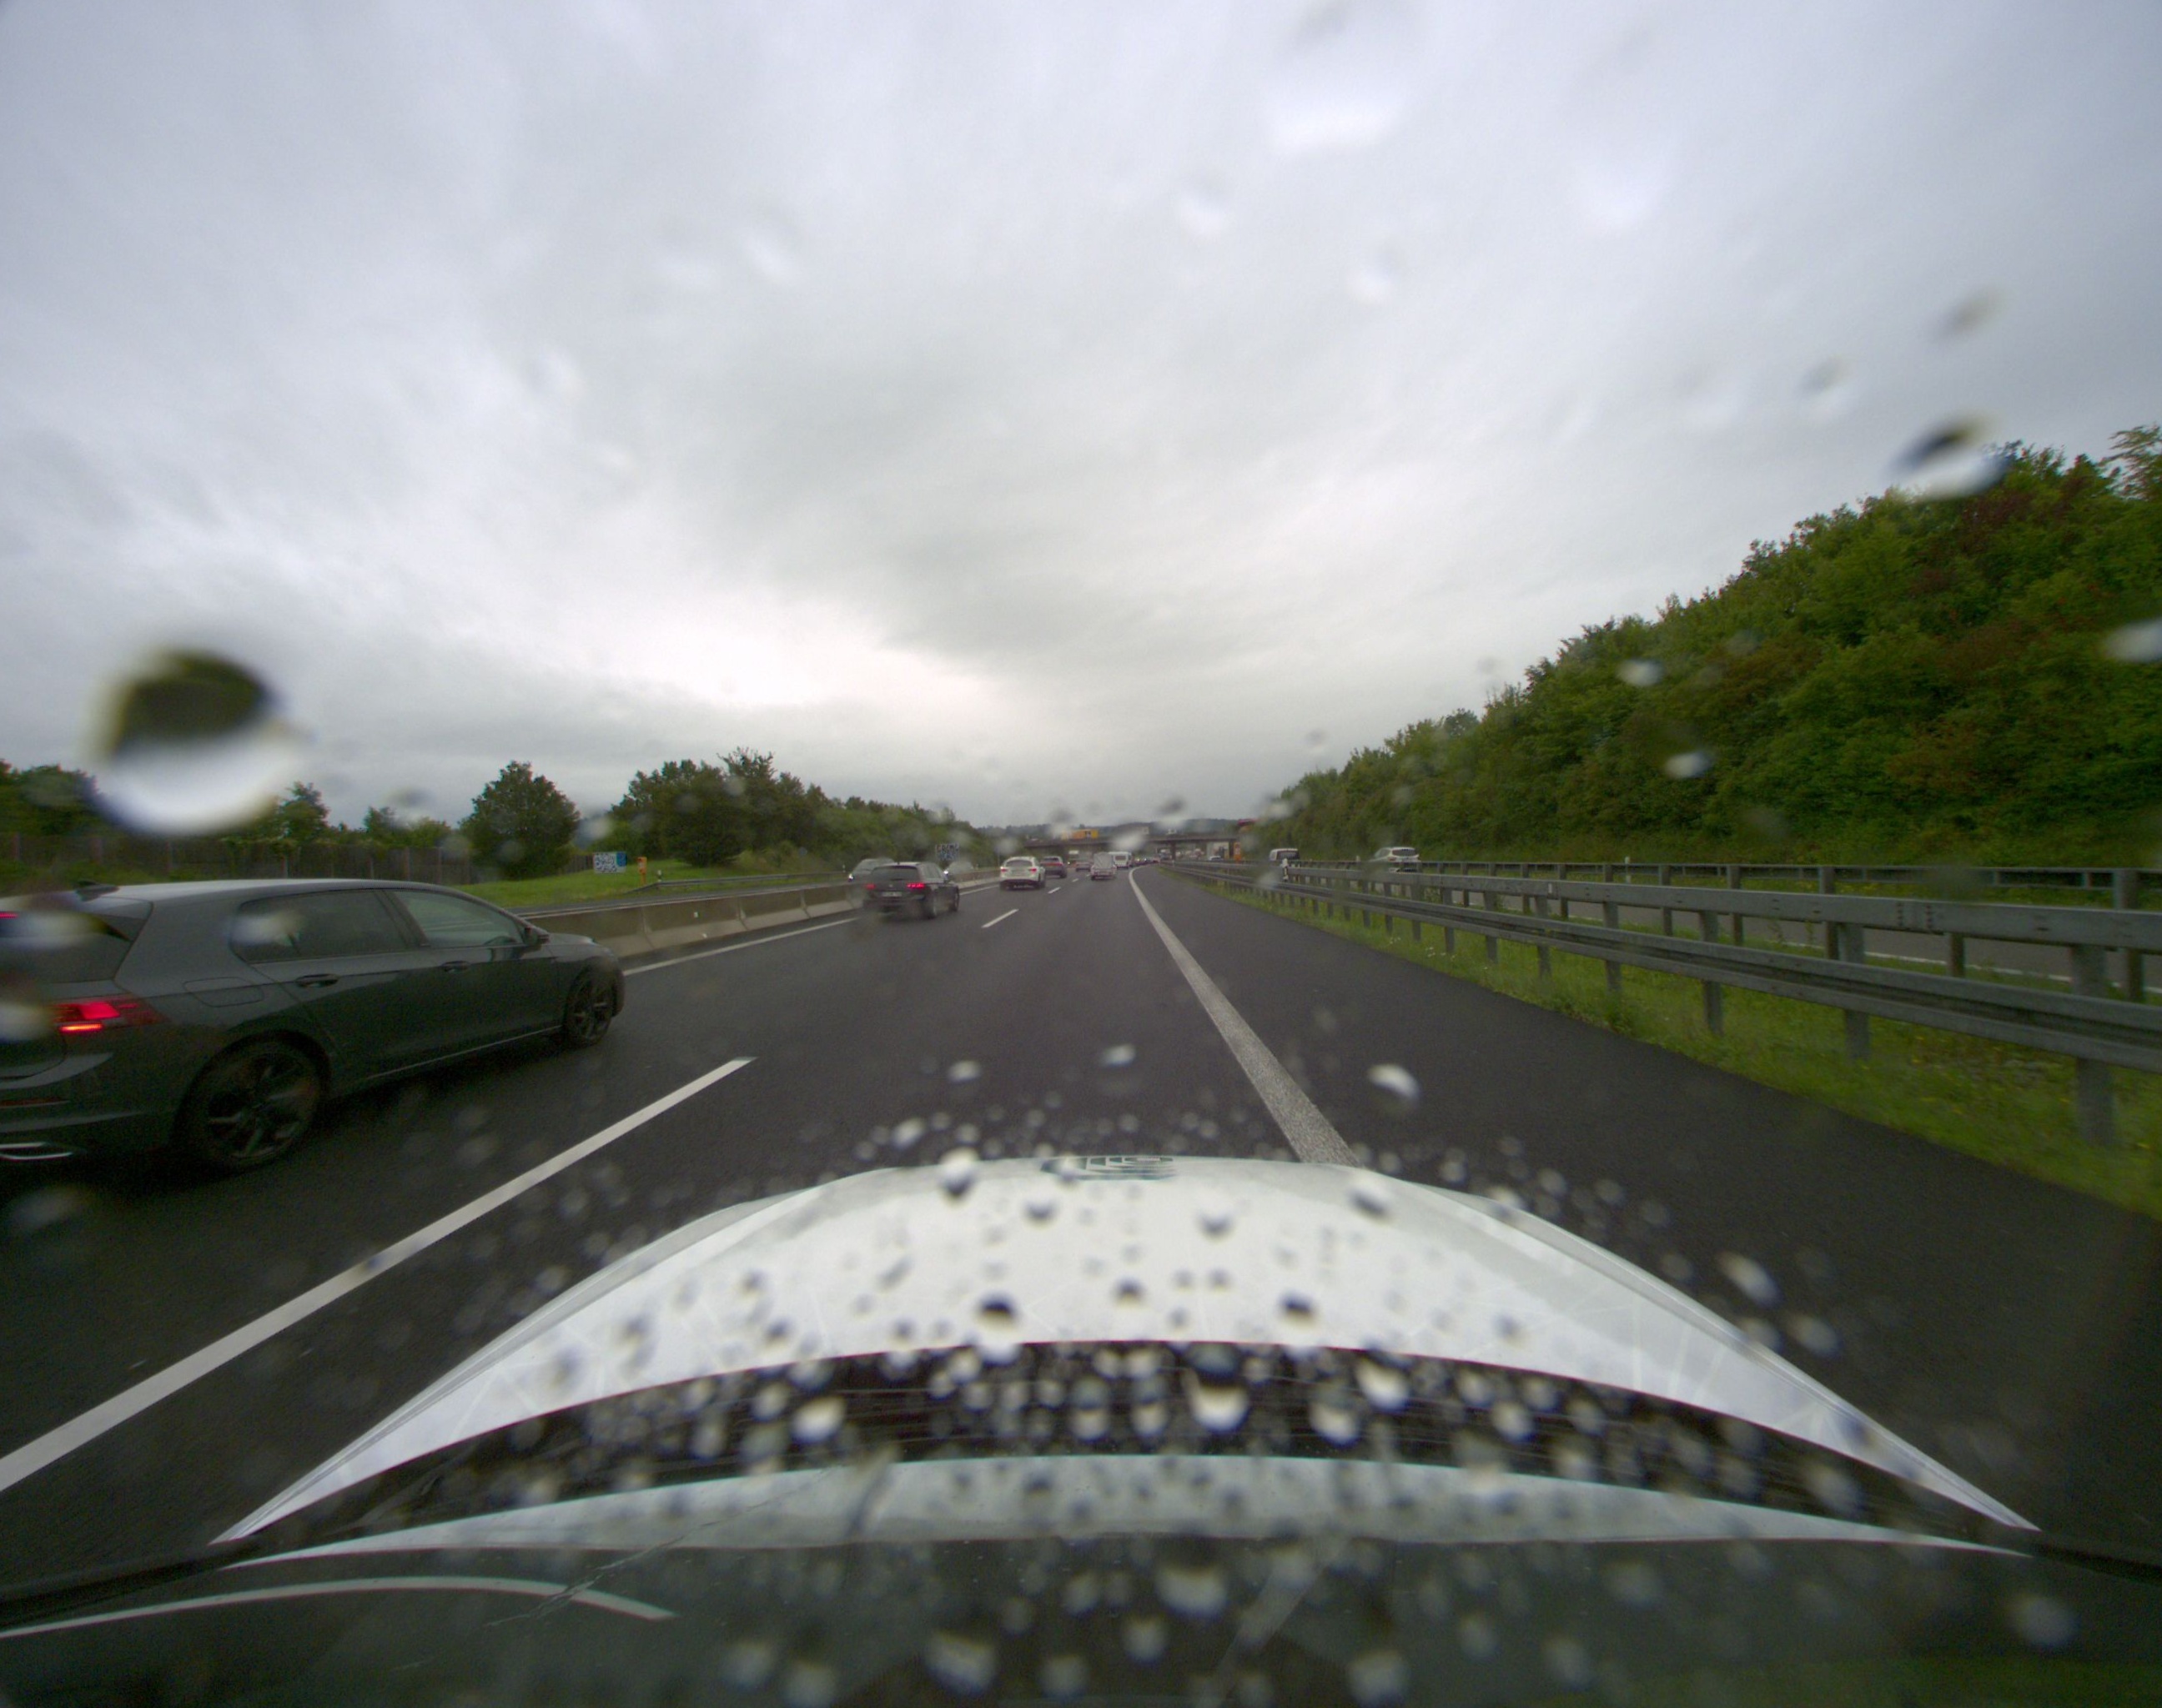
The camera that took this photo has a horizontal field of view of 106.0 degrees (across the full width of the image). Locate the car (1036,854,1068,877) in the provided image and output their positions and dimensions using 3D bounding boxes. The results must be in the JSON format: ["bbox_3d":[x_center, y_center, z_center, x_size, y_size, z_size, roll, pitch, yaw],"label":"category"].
[{"bbox_3d":[-2.205,0.872,63.867,2.166,1.631,4.502,-2,0,2],"label":"car"}]

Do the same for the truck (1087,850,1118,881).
[{"bbox_3d":[1.542,0.734,57.643,2.011,1.985,7.216,-2,0,2],"label":"truck"}]

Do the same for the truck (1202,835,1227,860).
[{"bbox_3d":[24.061,-1.128,147.197,3.421,4.289,10.431,-2,0,4],"label":"truck"}]

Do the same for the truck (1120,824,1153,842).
[{"bbox_3d":[15.826,-6.057,233.546,3.795,4.836,9.933,-1,0,-36],"label":"truck"}]

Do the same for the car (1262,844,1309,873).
[{"bbox_3d":[13.684,0.280,54.751,2.002,1.815,4.275,-1,0,-1],"label":"car"}]

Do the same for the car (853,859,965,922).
[{"bbox_3d":[-4.552,0.924,22.365,1.893,1.497,4.853,-2,-1,1],"label":"car"}]

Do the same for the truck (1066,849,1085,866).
[{"bbox_3d":[-1.299,0.925,208.063,3.749,3.992,13.203,-1,0,5],"label":"truck"}]

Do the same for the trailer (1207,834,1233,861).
[{"bbox_3d":[23.234,-1.035,136.770,3.421,4.289,10.468,-2,0,5],"label":"trailer"}]

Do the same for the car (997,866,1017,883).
[{"bbox_3d":[-8.715,2.451,96.269,1.987,1.902,4.173,-1,0,1],"label":"car"}]

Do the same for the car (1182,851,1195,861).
[{"bbox_3d":[18.875,0.352,143.344,1.852,1.805,4.652,-2,0,4],"label":"car"}]

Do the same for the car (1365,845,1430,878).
[{"bbox_3d":[16.604,0.364,42.959,1.889,1.612,4.148,-2,0,2],"label":"car"}]

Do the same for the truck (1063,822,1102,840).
[{"bbox_3d":[0.338,-7.157,256.326,3.795,4.836,15.077,-1,0,-36],"label":"truck"}]

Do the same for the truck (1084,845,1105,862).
[{"bbox_3d":[3.057,-0.016,181.061,3.749,3.554,13.203,-1,0,5],"label":"truck"}]

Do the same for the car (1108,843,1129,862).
[{"bbox_3d":[5.651,-0.225,122.536,3.004,2.616,6.080,-2,0,3],"label":"car"}]

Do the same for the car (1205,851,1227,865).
[{"bbox_3d":[16.315,0.455,98.553,2.000,1.548,4.698,-2,0,2],"label":"car"}]

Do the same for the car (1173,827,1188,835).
[{"bbox_3d":[26.671,-6.112,218.555,1.852,1.915,3.955,0,0,-37],"label":"car"}]

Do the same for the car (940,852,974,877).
[{"bbox_3d":[-9.795,0.827,64.724,1.987,1.902,4.173,-1,0,1],"label":"car"}]

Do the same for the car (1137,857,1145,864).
[{"bbox_3d":[15.569,1.653,210.167,1.985,1.750,4.003,-1,0,3],"label":"car"}]

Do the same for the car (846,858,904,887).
[{"bbox_3d":[-11.842,1.048,47.092,1.975,1.506,4.639,-2,0,2],"label":"car"}]

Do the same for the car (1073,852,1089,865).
[{"bbox_3d":[0.029,0.531,99.722,1.894,1.613,4.017,-2,0,0],"label":"car"}]

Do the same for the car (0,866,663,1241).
[{"bbox_3d":[-4.984,0.847,5.476,1.893,1.405,4.461,-2,0,2],"label":"car"}]

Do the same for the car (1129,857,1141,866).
[{"bbox_3d":[11.148,1.544,168.264,1.988,1.750,3.998,-1,0,-1],"label":"car"}]

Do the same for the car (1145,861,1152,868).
[{"bbox_3d":[20.011,3.107,241.796,1.985,1.750,4.004,-1,0,4],"label":"car"}]

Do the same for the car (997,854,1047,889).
[{"bbox_3d":[-2.934,0.850,41.285,1.968,1.639,4.503,-2,0,2],"label":"car"}]
